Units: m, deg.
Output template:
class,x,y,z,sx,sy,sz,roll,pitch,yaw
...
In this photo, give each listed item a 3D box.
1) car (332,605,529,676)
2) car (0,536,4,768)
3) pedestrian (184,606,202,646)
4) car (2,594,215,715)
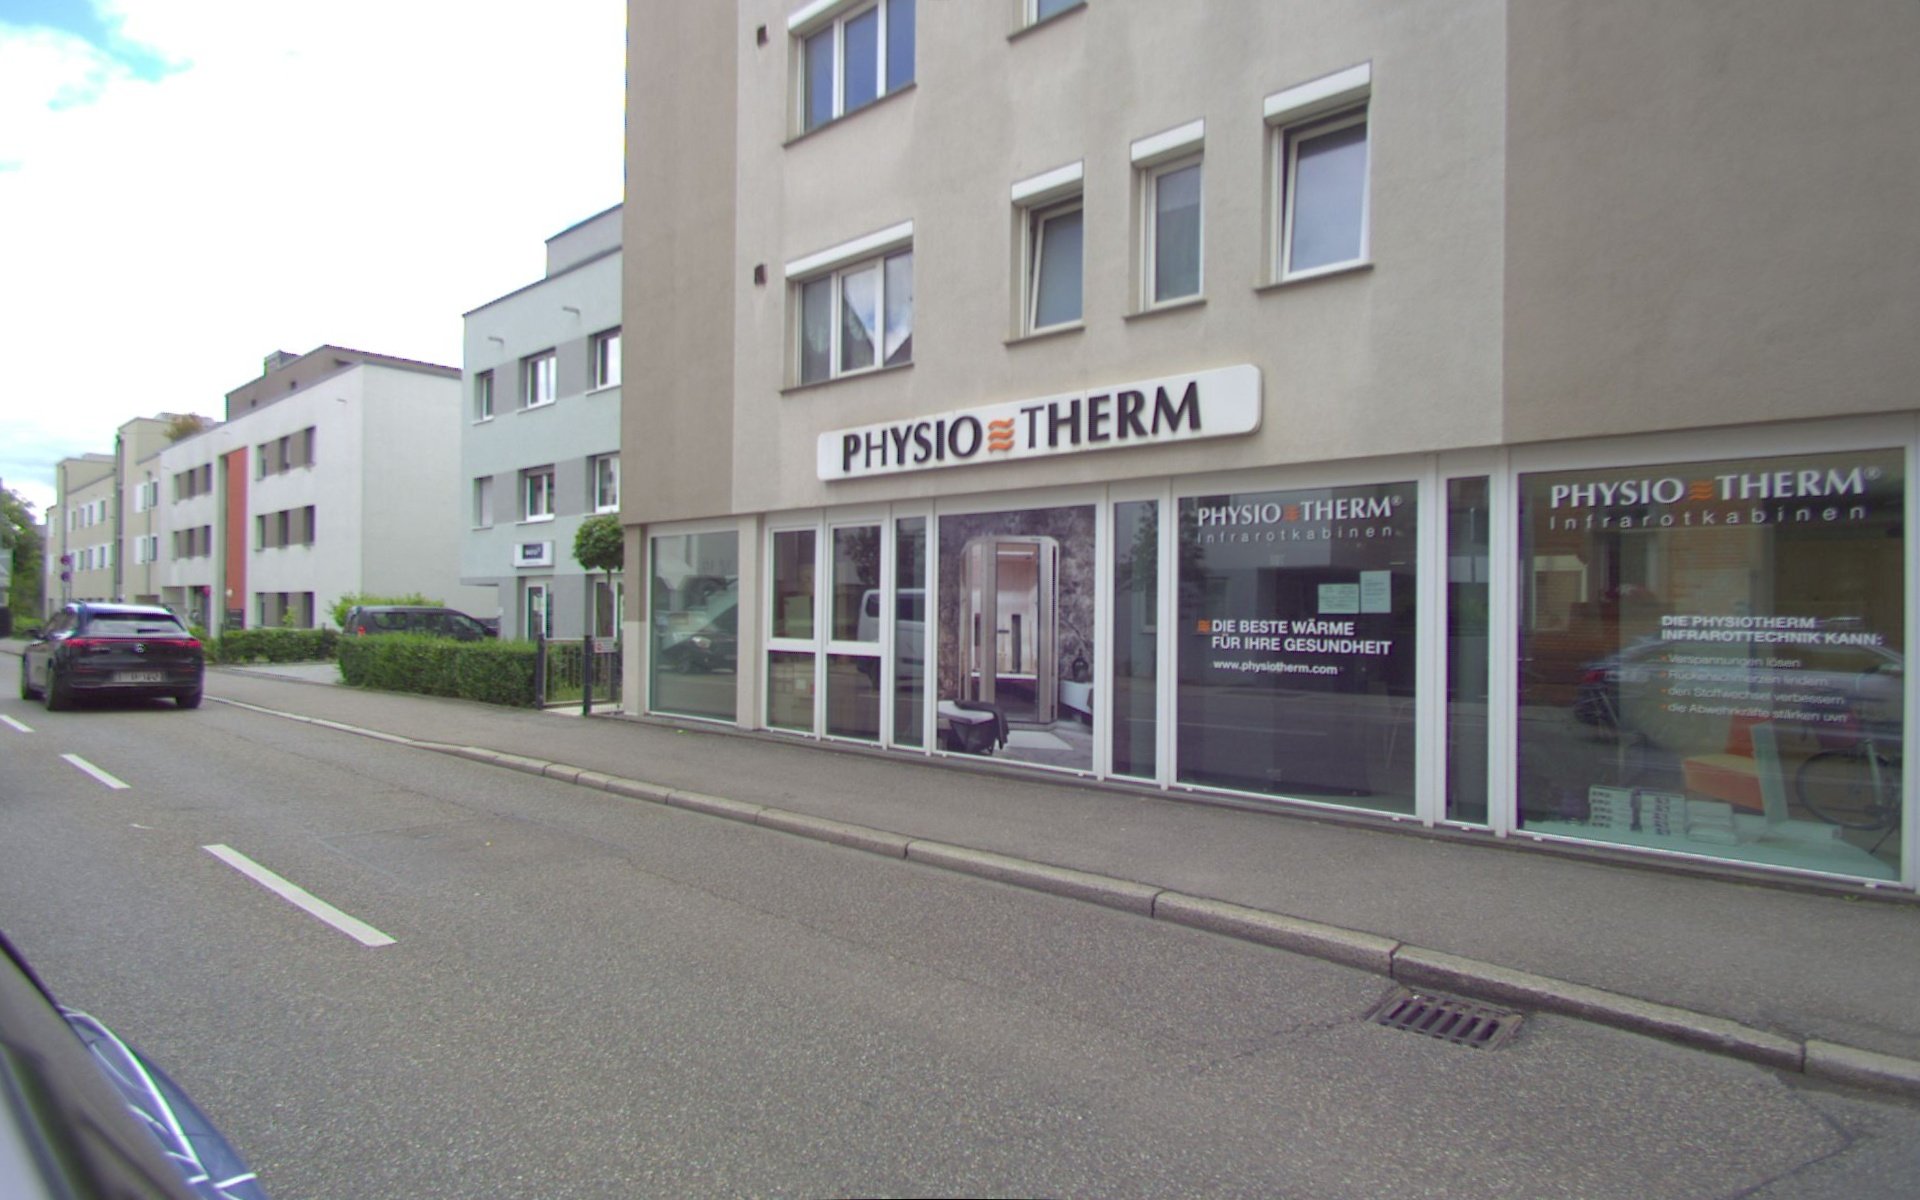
class,x,y,z,sx,sy,sz,roll,pitch,yaw
car,-13.423,0.982,25.798,1.725,1.680,4.116,0,-1,45
car,-9.552,0.531,8.271,5.058,1.972,2.035,-1,-1,41
pedestrian,-32.624,1.103,43.053,0.511,1.655,0.642,0,-1,-32
car,-14.270,0.858,16.874,4.551,1.752,1.973,-1,-3,41
